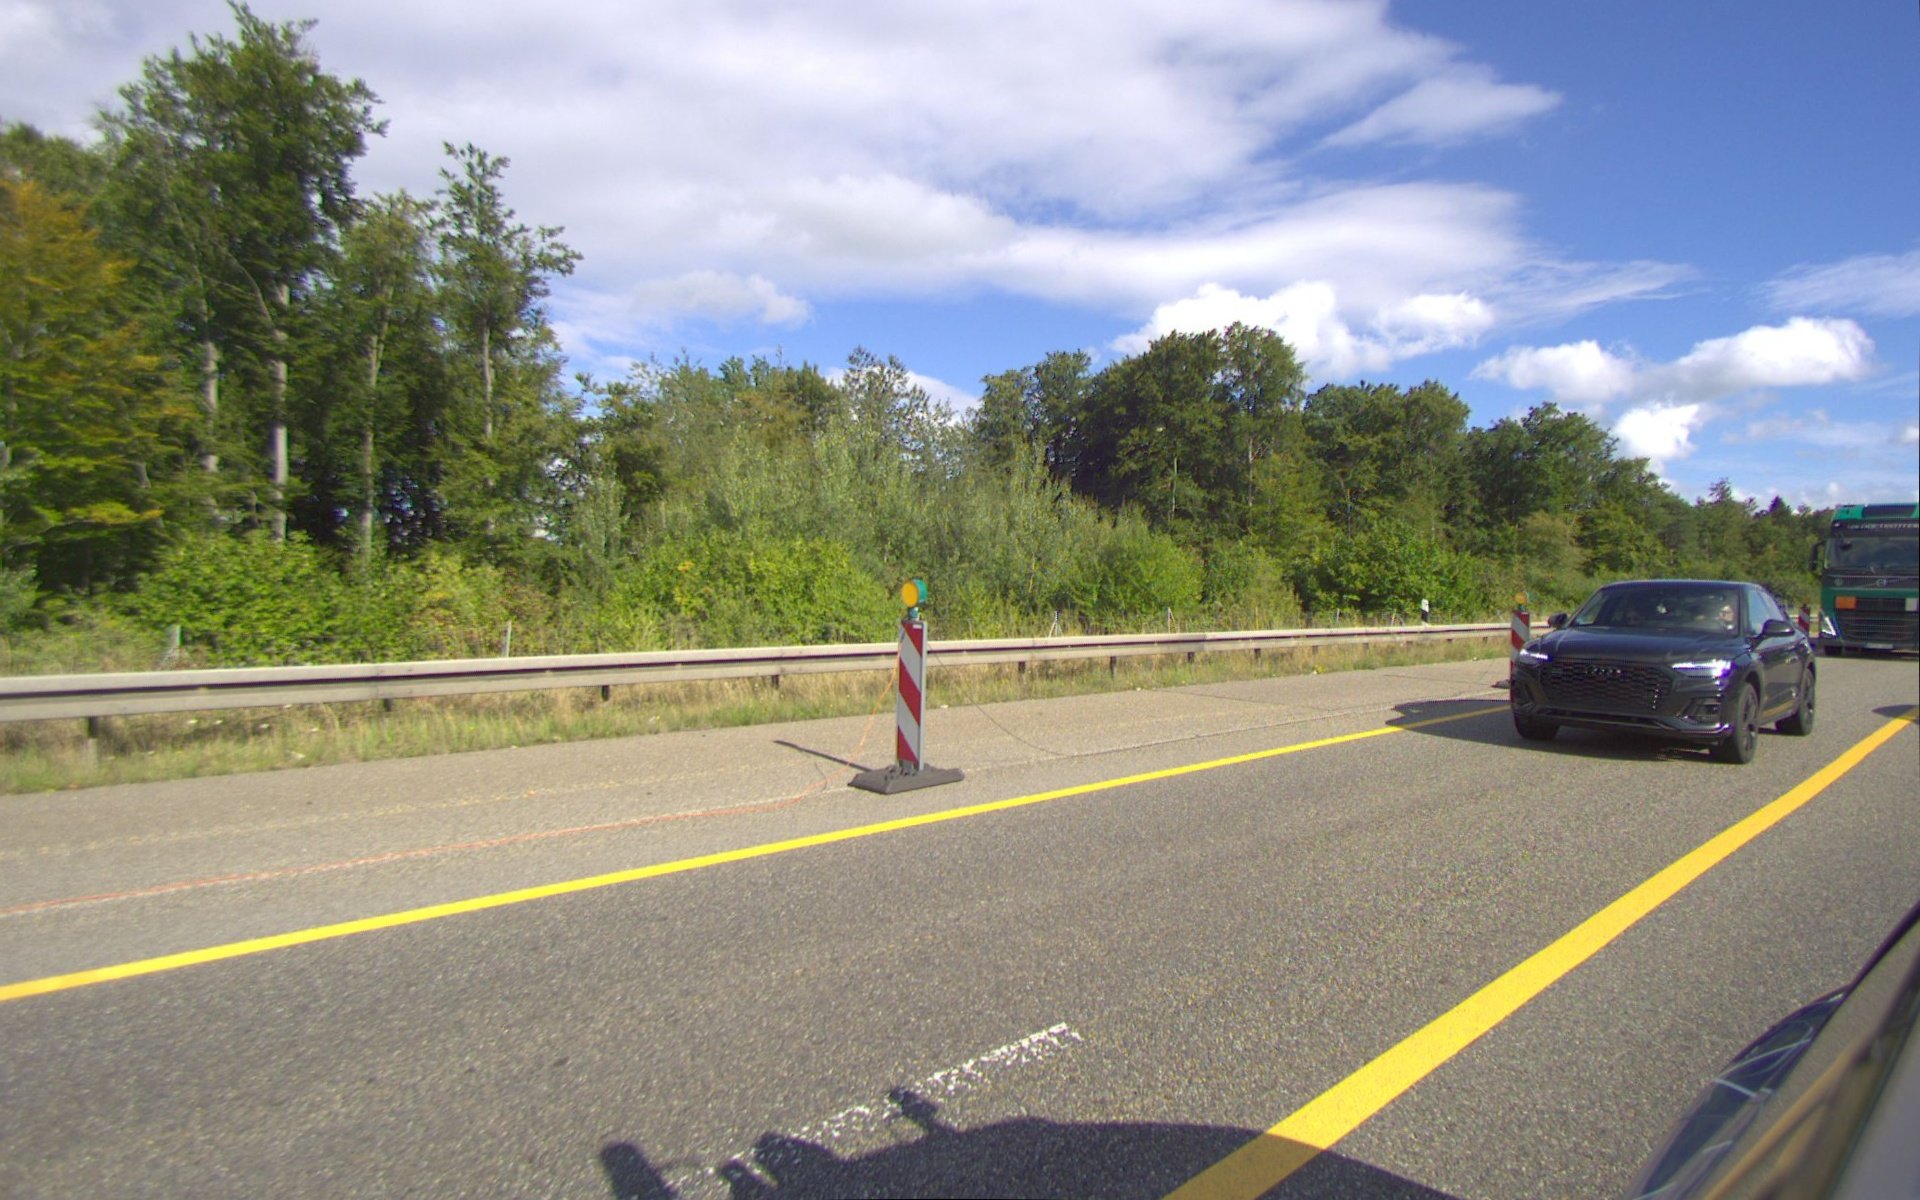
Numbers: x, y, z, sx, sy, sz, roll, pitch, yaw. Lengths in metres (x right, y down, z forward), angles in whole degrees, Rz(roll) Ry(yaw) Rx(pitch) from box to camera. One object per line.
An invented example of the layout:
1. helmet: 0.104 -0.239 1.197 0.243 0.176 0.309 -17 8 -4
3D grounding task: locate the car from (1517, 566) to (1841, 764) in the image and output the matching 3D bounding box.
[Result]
1. car: 7.453 0.498 10.335 4.219 1.622 1.781 -1 1 -41

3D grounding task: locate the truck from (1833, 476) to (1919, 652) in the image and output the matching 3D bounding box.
1. truck: 24.978 -0.898 26.358 6.738 4.151 2.526 -1 1 -41

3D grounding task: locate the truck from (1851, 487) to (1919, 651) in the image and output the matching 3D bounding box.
1. truck: 29.714 -0.763 30.569 13.963 4.196 2.468 0 0 -41
